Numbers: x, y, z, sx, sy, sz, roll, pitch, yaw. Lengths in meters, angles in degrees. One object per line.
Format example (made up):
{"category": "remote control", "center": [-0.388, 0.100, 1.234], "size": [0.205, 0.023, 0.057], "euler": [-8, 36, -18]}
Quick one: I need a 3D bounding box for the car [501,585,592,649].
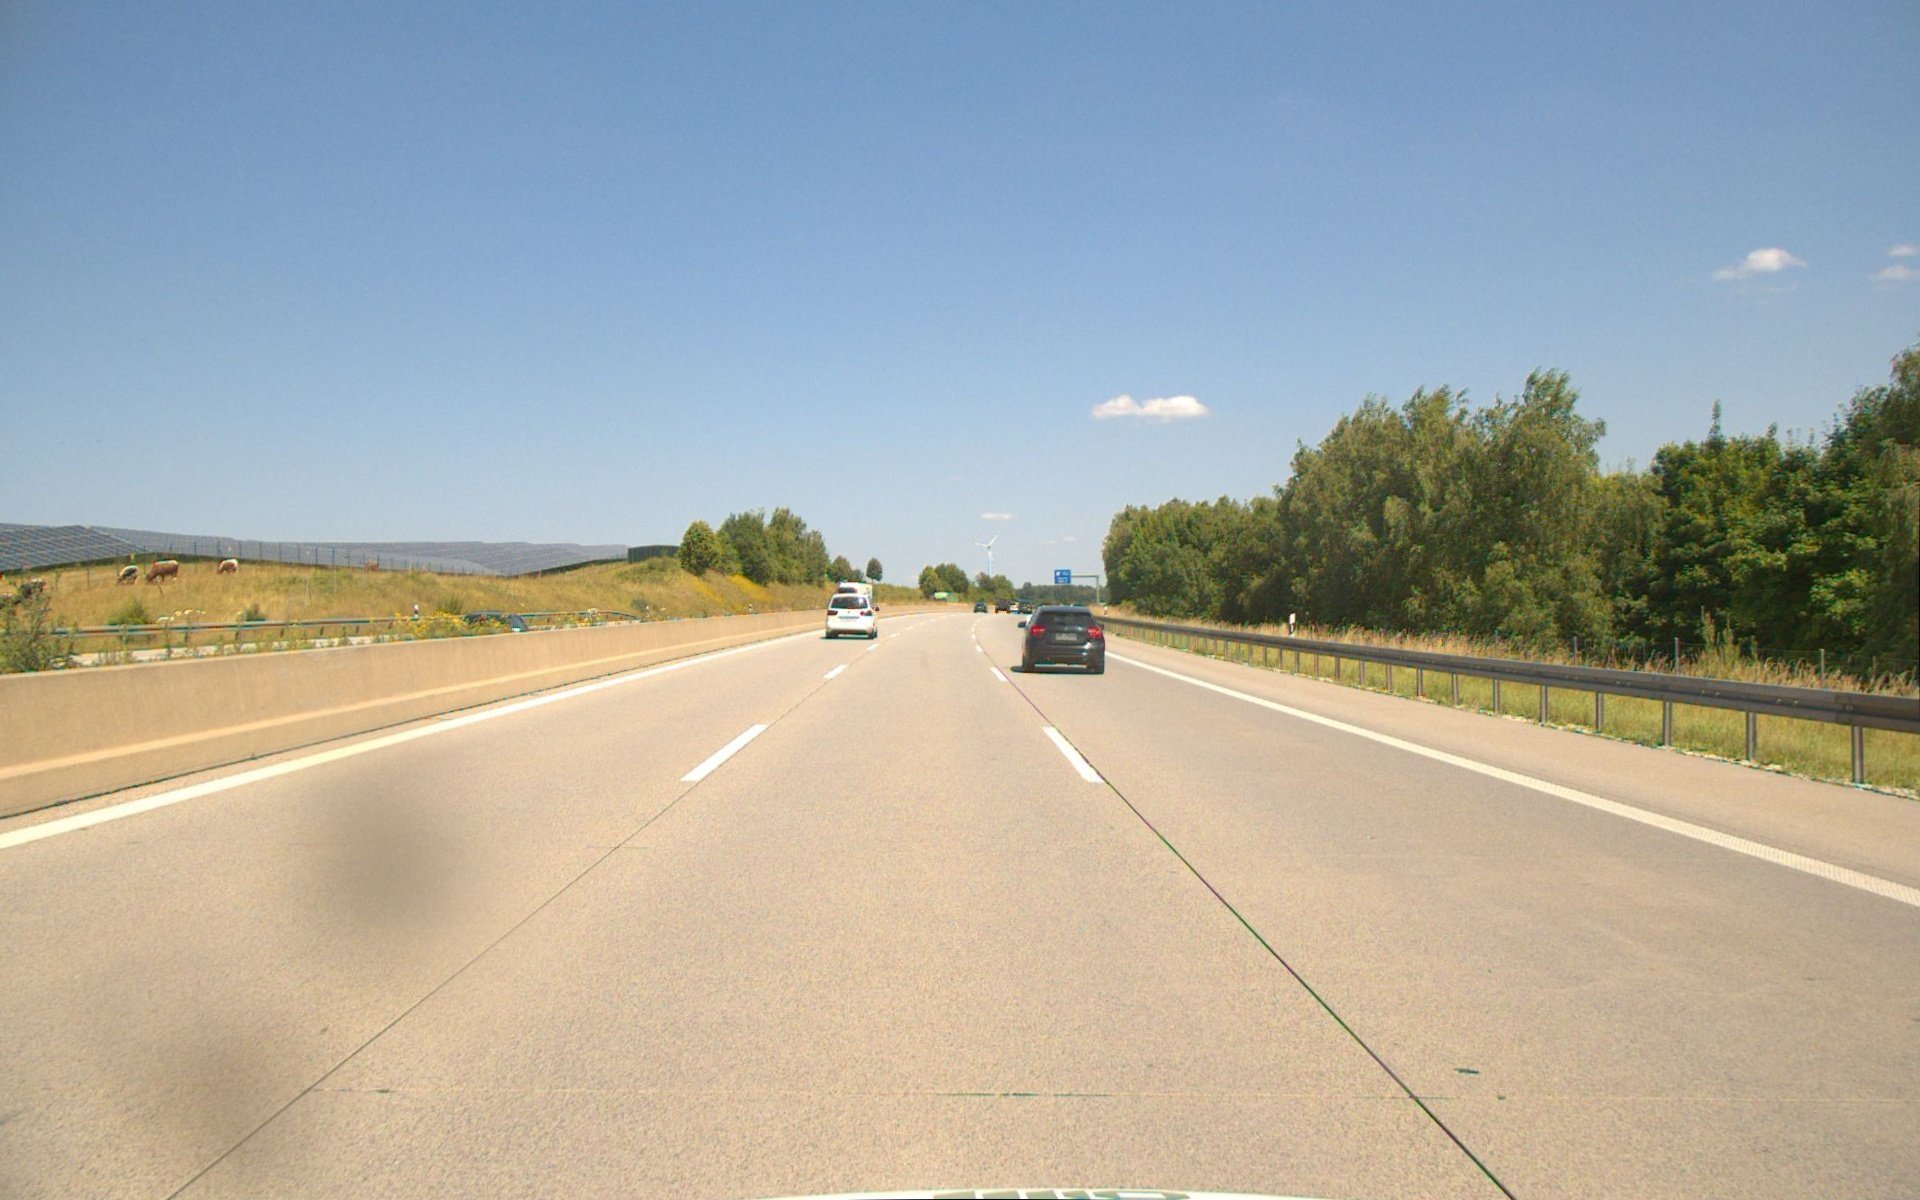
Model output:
{"category": "car", "center": [-12.074, 0.478, 48.500], "size": [1.734, 1.776, 3.823], "euler": [0, 0, -1]}

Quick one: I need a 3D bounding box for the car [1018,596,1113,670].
{"category": "car", "center": [2.299, 0.688, 37.105], "size": [1.871, 1.518, 4.192], "euler": [1, 0, 0]}

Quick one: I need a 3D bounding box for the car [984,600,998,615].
{"category": "car", "center": [4.223, 0.975, 224.325], "size": [1.789, 1.971, 3.809], "euler": [0, 0, 1]}

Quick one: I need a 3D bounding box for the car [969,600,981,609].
{"category": "car", "center": [2.253, 0.645, 243.401], "size": [1.622, 1.217, 3.959], "euler": [3, 0, -1]}

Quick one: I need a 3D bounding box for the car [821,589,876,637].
{"category": "car", "center": [-4.288, 0.503, 64.378], "size": [1.808, 1.738, 6.034], "euler": [1, 0, -1]}

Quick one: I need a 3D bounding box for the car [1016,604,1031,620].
{"category": "car", "center": [7.971, 1.443, 206.372], "size": [1.789, 1.940, 4.002], "euler": [0, 0, 3]}
